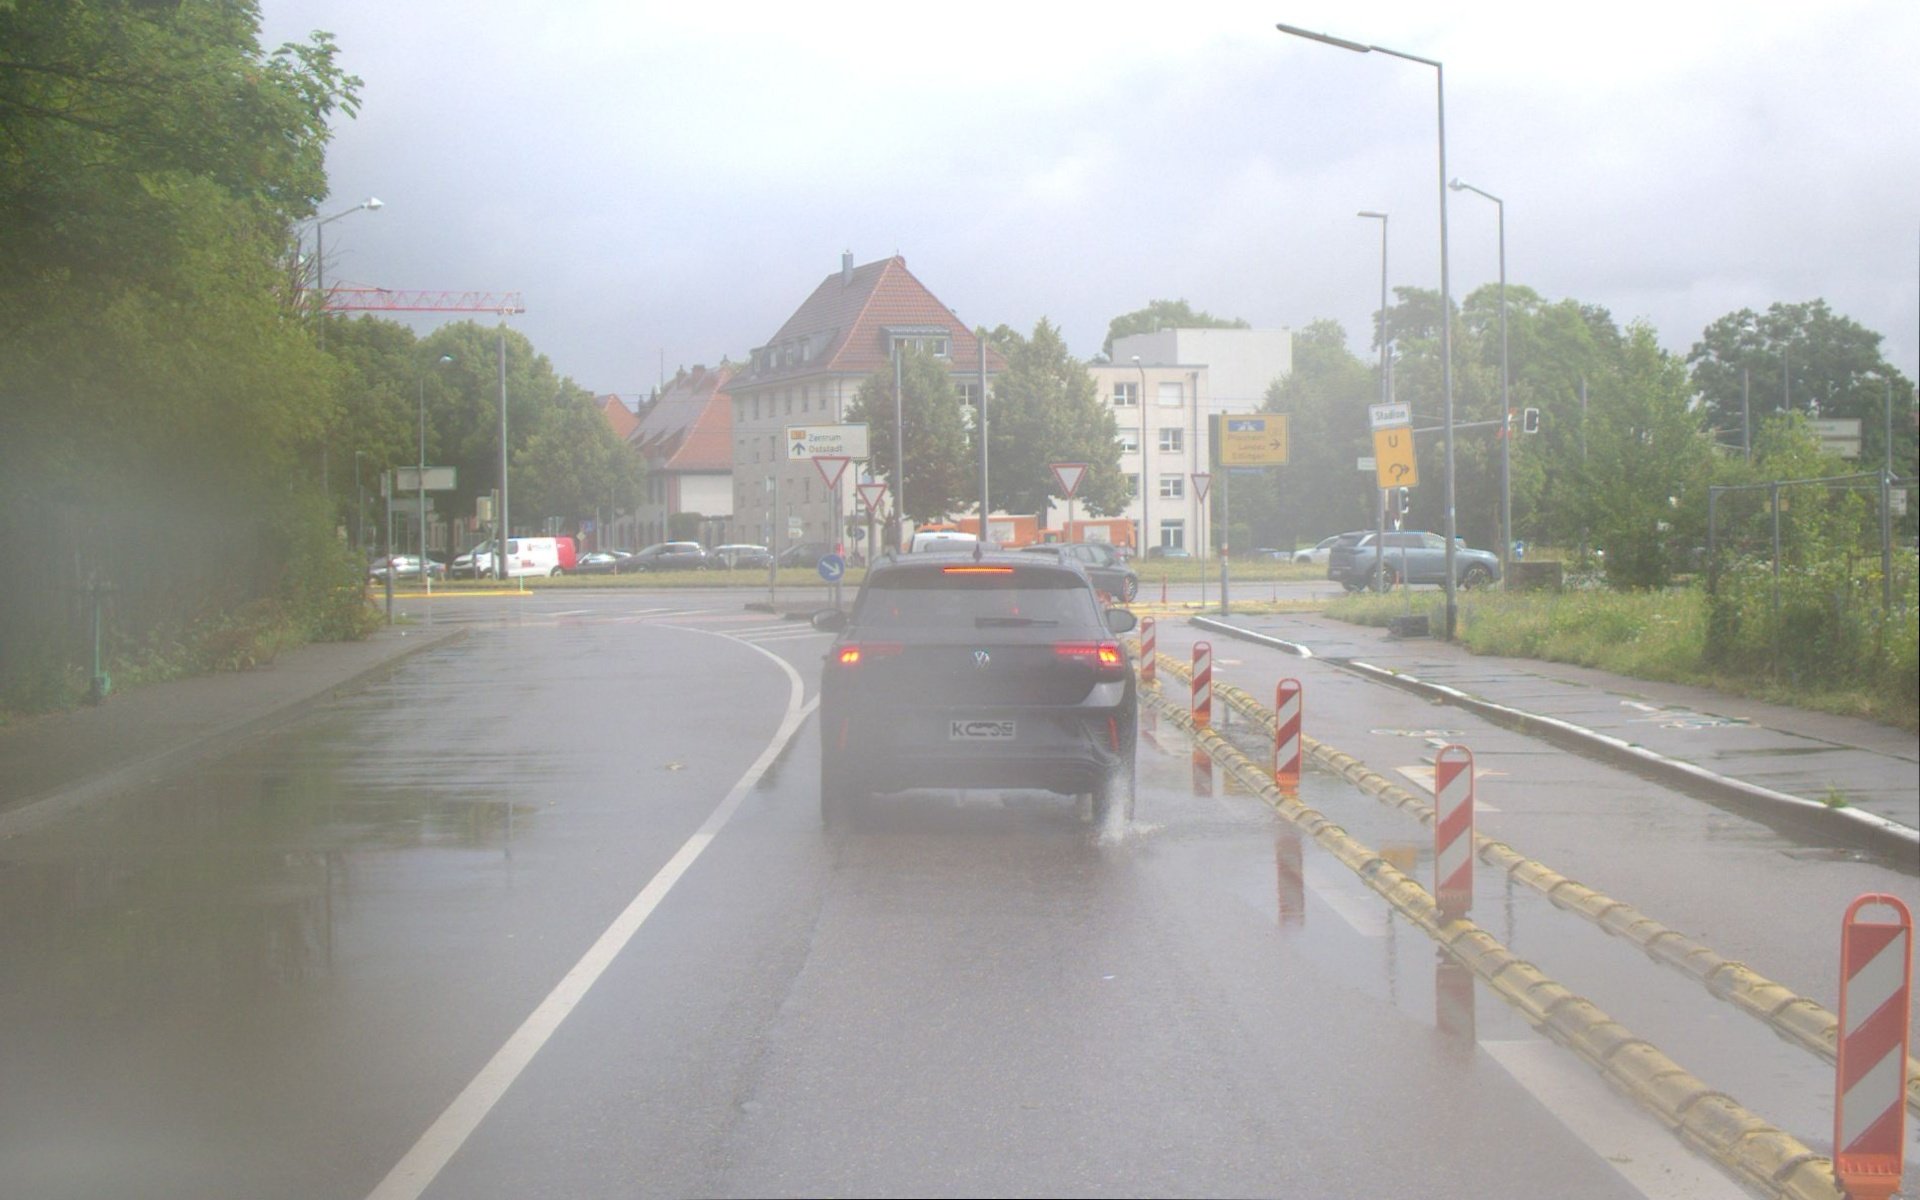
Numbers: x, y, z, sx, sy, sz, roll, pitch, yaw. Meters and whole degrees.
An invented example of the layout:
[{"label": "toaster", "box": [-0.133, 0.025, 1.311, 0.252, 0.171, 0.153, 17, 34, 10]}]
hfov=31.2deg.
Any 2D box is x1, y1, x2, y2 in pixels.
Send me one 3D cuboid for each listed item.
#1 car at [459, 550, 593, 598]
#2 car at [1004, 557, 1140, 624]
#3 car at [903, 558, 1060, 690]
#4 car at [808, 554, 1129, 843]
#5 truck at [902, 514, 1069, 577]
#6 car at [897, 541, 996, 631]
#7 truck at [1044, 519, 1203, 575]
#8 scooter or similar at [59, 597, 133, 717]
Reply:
[{"label": "car", "box": [-17.564, -1.073, 139.177, 5.117, 1.870, 1.894, -1, 1, -38]}, {"label": "car", "box": [2.834, -0.254, 86.394, 1.668, 1.639, 3.947, 0, 1, 32]}, {"label": "car", "box": [0.216, 0.252, 41.417, 1.735, 1.509, 3.604, 0, 1, -2]}, {"label": "car", "box": [-0.032, 0.526, 20.563, 1.708, 1.568, 3.683, 0, 0, -3]}, {"label": "truck", "box": [1.130, -2.318, 146.663, 7.066, 2.641, 2.330, 0, 1, 2]}, {"label": "car", "box": [-0.312, -0.312, 71.758, 1.864, 1.803, 4.404, 0, 1, -3]}, {"label": "truck", "box": [7.346, -2.370, 154.249, 6.707, 2.434, 2.432, -1, 1, 15]}, {"label": "scooter or similar", "box": [-8.597, 0.557, 34.233, 0.562, 1.158, 1.208, -1, 0, -7]}]
